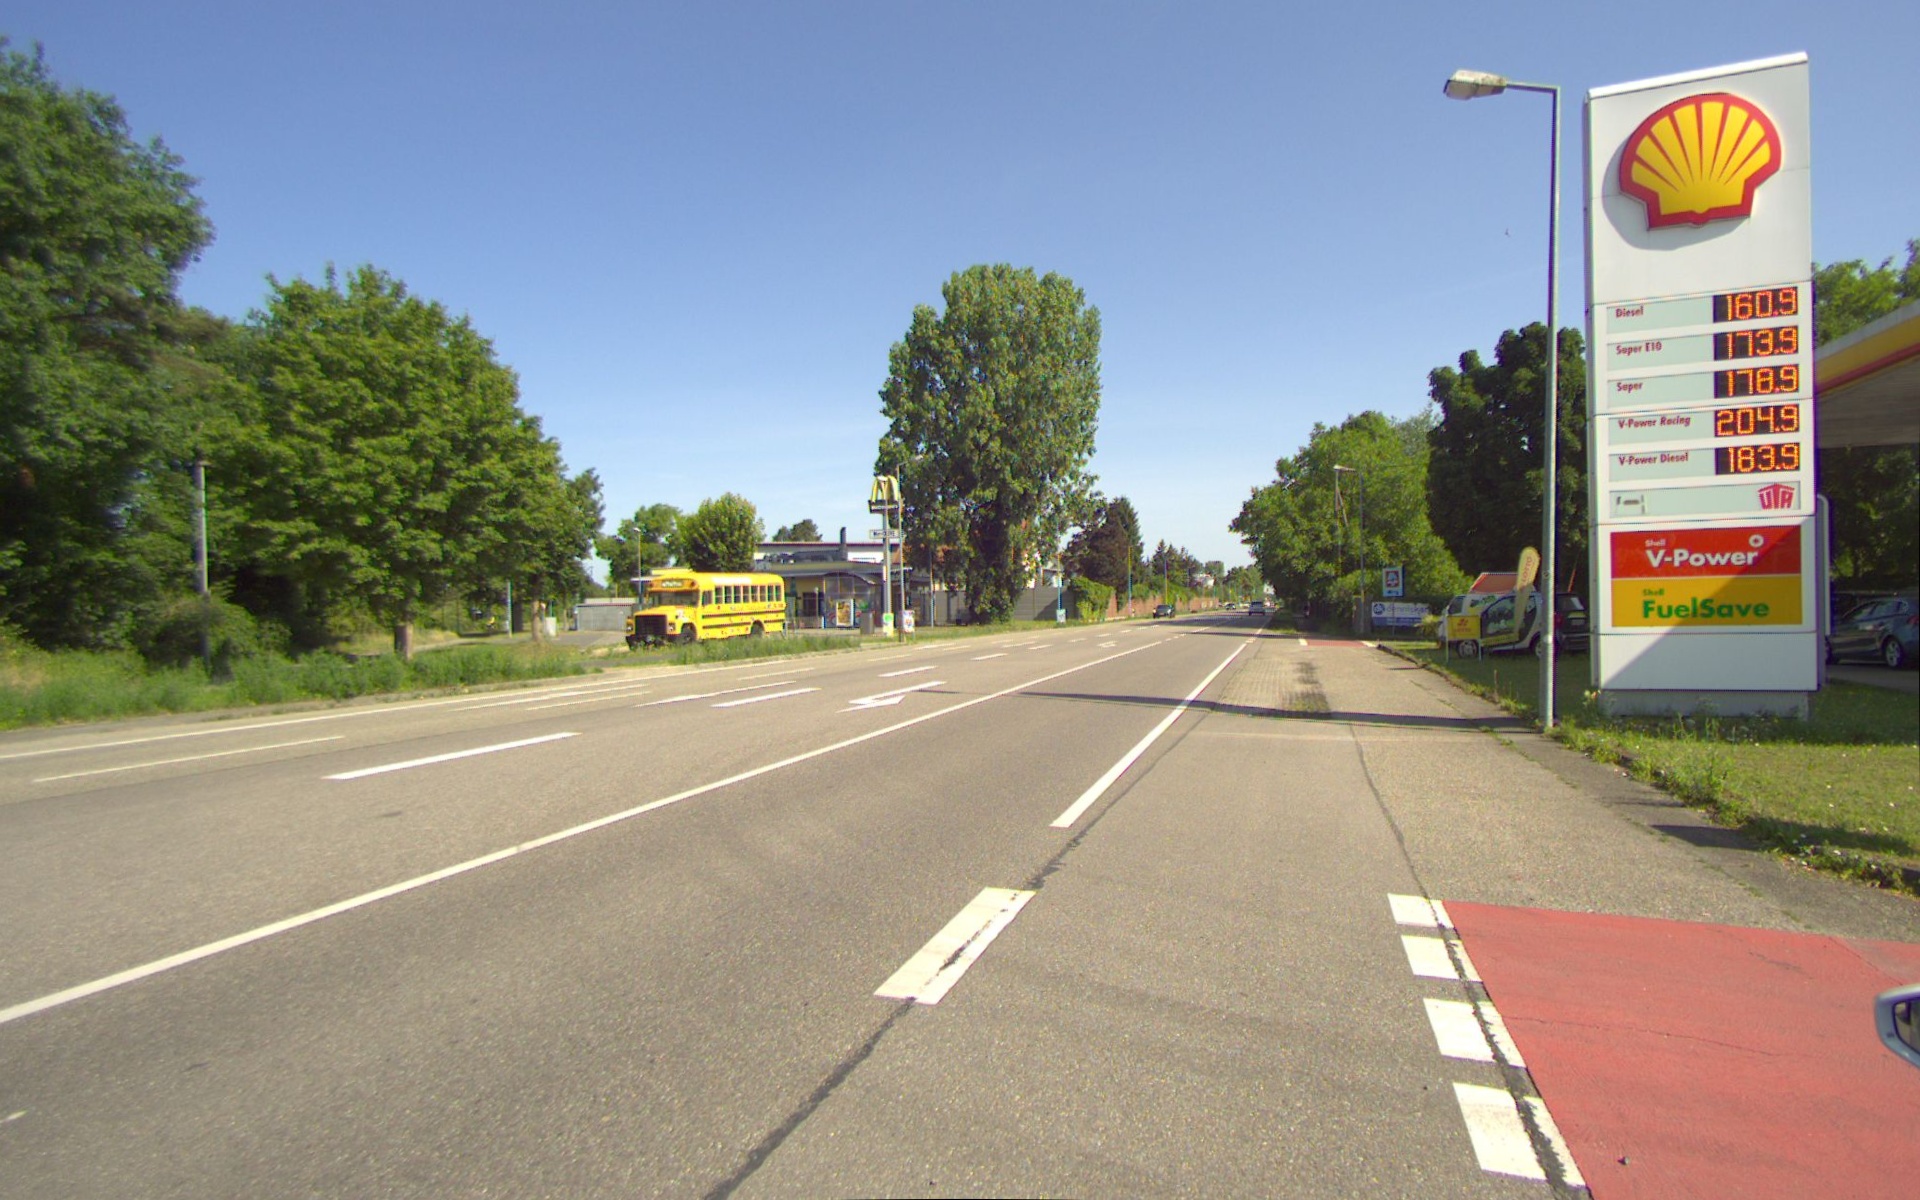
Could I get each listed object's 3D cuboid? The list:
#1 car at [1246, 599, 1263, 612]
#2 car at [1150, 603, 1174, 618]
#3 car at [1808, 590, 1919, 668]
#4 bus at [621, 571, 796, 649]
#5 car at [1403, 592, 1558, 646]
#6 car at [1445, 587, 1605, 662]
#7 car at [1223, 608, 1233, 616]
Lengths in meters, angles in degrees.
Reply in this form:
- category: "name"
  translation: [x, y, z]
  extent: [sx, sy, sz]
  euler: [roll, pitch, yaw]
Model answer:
- category: "car"
  translation: [34.189, 0.649, 116.603]
  extent: [1.816, 1.561, 4.225]
  euler: [1, 0, 18]
- category: "car"
  translation: [21.082, 1.092, 104.707]
  extent: [1.816, 1.515, 4.912]
  euler: [-3, -1, 18]
- category: "car"
  translation: [18.462, 0.509, 19.570]
  extent: [1.768, 1.379, 3.847]
  euler: [-1, 0, 21]
- category: "bus"
  translation: [-9.622, 0.375, 39.827]
  extent: [2.536, 2.715, 9.000]
  euler: [1, 0, 16]
- category: "car"
  translation: [15.813, 0.574, 30.691]
  extent: [3.919, 1.550, 1.587]
  euler: [1, 0, 12]
- category: "car"
  translation: [12.486, 0.545, 22.307]
  extent: [1.558, 1.550, 2.712]
  euler: [1, -1, -27]
- category: "car"
  translation: [55.208, 2.417, 206.853]
  extent: [1.816, 1.561, 4.225]
  euler: [1, 0, 18]
